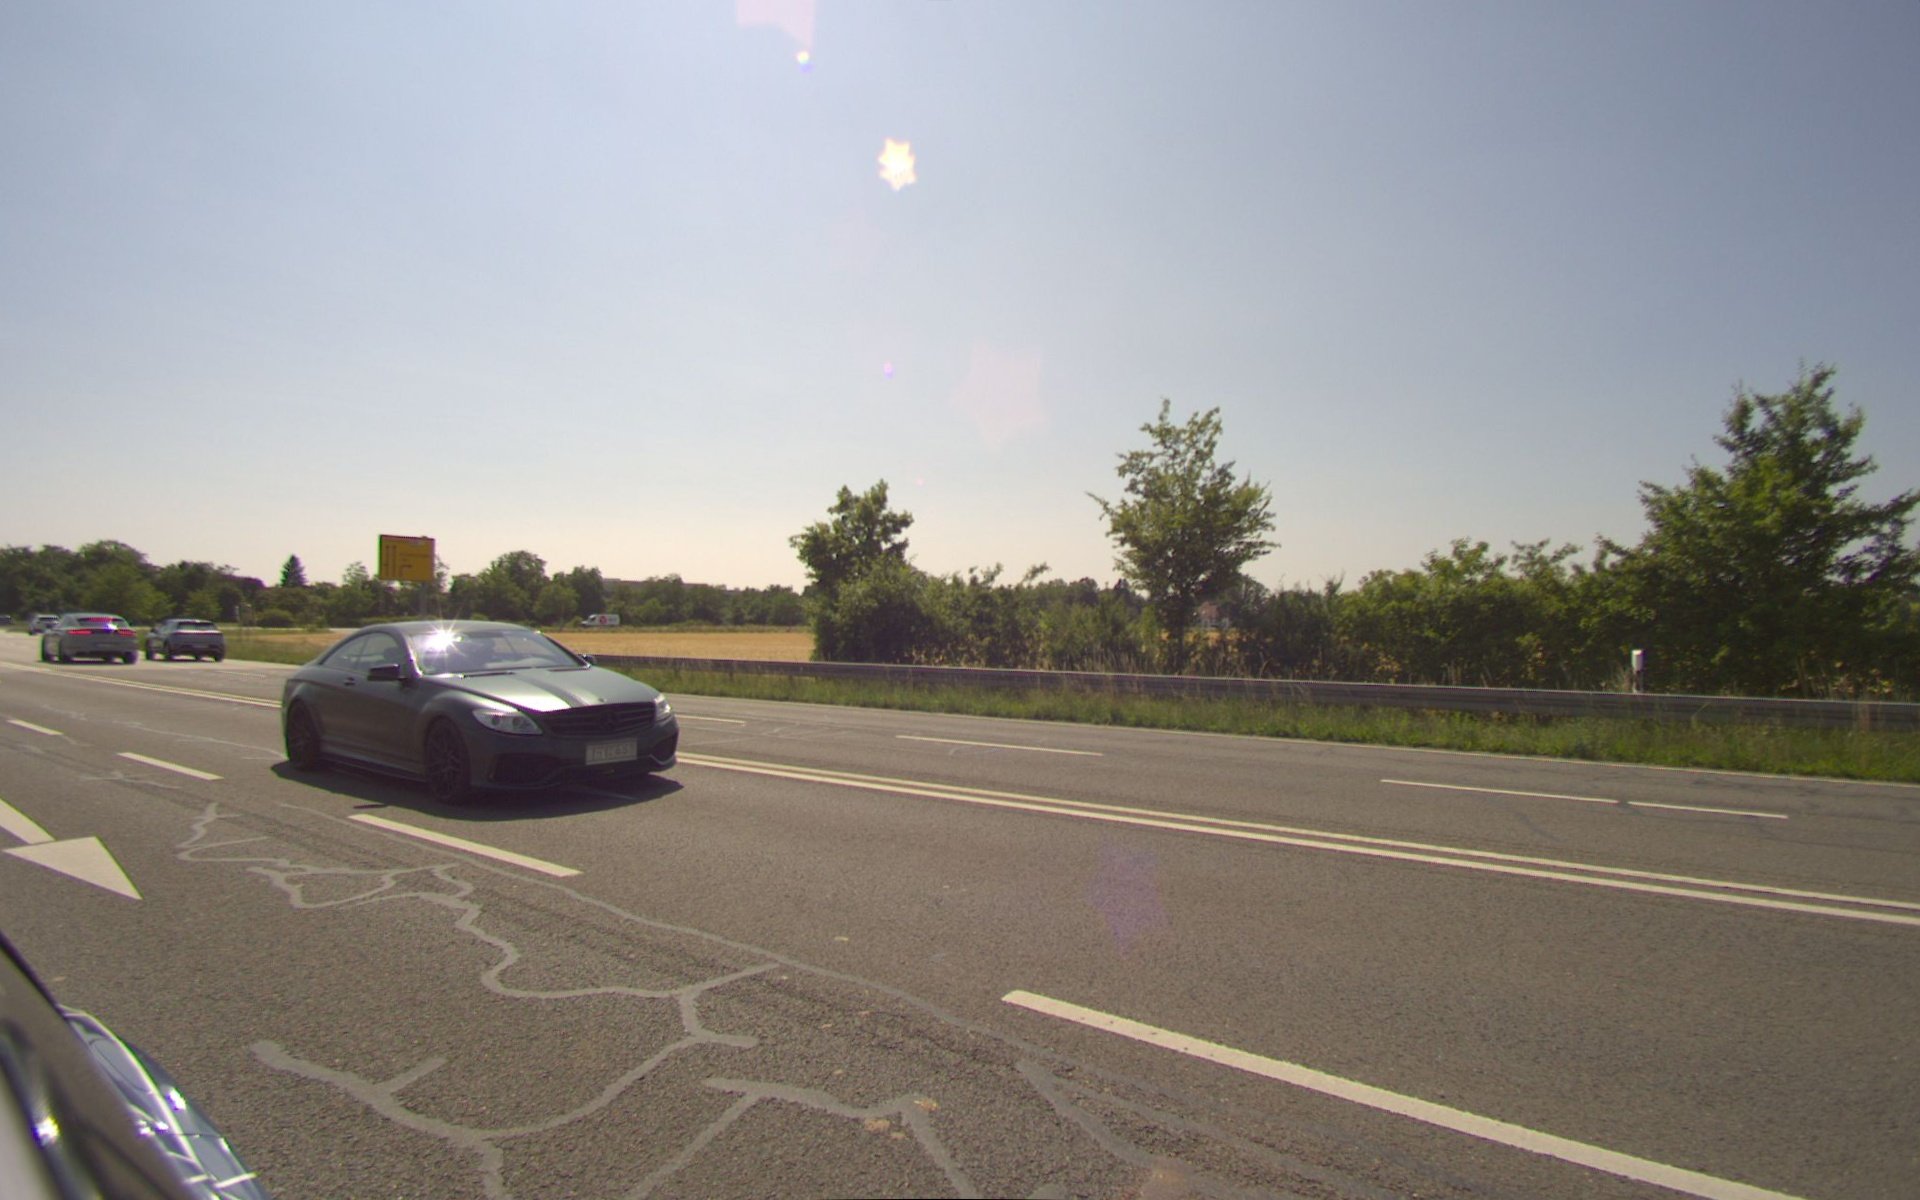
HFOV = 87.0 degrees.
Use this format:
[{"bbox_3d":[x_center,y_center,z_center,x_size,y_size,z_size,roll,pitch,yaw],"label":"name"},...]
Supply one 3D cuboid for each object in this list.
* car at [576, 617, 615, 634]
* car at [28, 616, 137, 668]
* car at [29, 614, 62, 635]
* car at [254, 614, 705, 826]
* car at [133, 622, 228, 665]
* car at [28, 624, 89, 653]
[{"bbox_3d":[-66.263,4.600,184.020,6.287,2.931,2.002,-1,0,-44],"label":"car"},{"bbox_3d":[-29.731,1.407,34.242,4.869,1.599,1.822,-1,-4,38],"label":"car"},{"bbox_3d":[-76.447,2.036,84.592,4.463,1.689,1.646,-2,-4,43],"label":"car"},{"bbox_3d":[-4.613,0.877,9.342,4.870,1.461,1.793,-1,0,38],"label":"car"},{"bbox_3d":[-29.559,1.637,38.329,4.120,1.519,1.802,-1,-4,37],"label":"car"},{"bbox_3d":[-53.150,2.268,59.634,4.306,1.574,1.974,0,-2,39],"label":"car"}]
